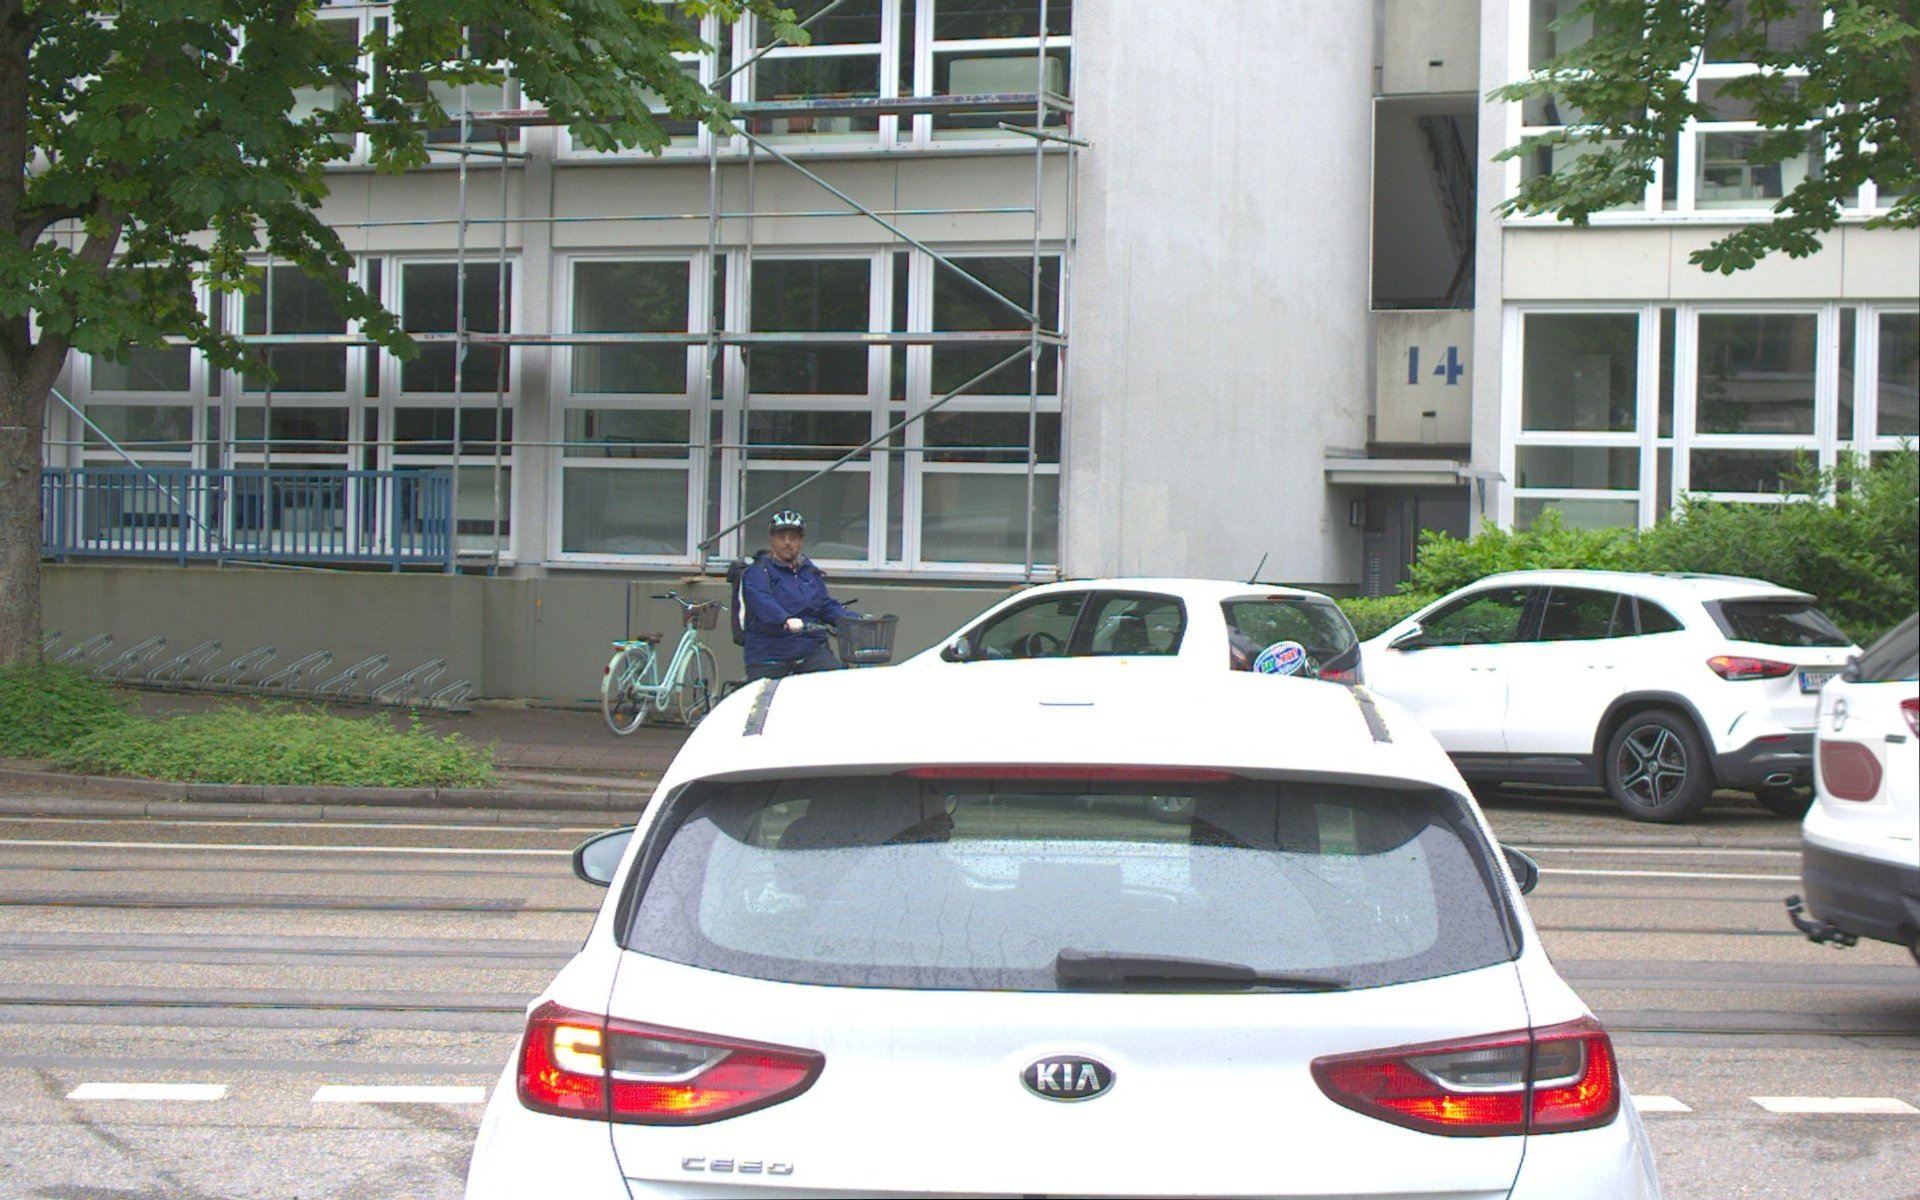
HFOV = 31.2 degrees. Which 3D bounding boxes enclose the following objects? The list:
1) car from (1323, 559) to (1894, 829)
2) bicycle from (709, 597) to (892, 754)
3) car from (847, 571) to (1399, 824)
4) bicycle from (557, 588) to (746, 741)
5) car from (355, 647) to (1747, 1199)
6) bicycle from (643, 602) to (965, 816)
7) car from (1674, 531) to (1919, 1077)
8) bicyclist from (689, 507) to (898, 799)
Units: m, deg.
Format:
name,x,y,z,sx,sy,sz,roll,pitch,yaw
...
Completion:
name,x,y,z,sx,sy,sz,roll,pitch,yaw
car,4.214,0.557,22.641,1.552,1.612,3.406,0,1,-44
bicycle,-1.273,0.589,27.962,0.645,1.071,2.310,2,4,20
car,0.994,0.571,22.179,1.552,1.468,3.406,0,1,-44
bicycle,-2.524,0.506,28.450,0.645,1.071,2.310,2,4,20
car,0.195,0.835,6.384,1.775,1.428,3.978,1,0,3
bicycle,-0.951,0.625,20.614,1.914,1.170,0.819,2,1,44
car,4.976,0.675,11.754,4.585,1.697,2.000,1,1,-1
bicyclist,-1.001,0.303,20.639,0.896,1.692,0.832,2,1,45
